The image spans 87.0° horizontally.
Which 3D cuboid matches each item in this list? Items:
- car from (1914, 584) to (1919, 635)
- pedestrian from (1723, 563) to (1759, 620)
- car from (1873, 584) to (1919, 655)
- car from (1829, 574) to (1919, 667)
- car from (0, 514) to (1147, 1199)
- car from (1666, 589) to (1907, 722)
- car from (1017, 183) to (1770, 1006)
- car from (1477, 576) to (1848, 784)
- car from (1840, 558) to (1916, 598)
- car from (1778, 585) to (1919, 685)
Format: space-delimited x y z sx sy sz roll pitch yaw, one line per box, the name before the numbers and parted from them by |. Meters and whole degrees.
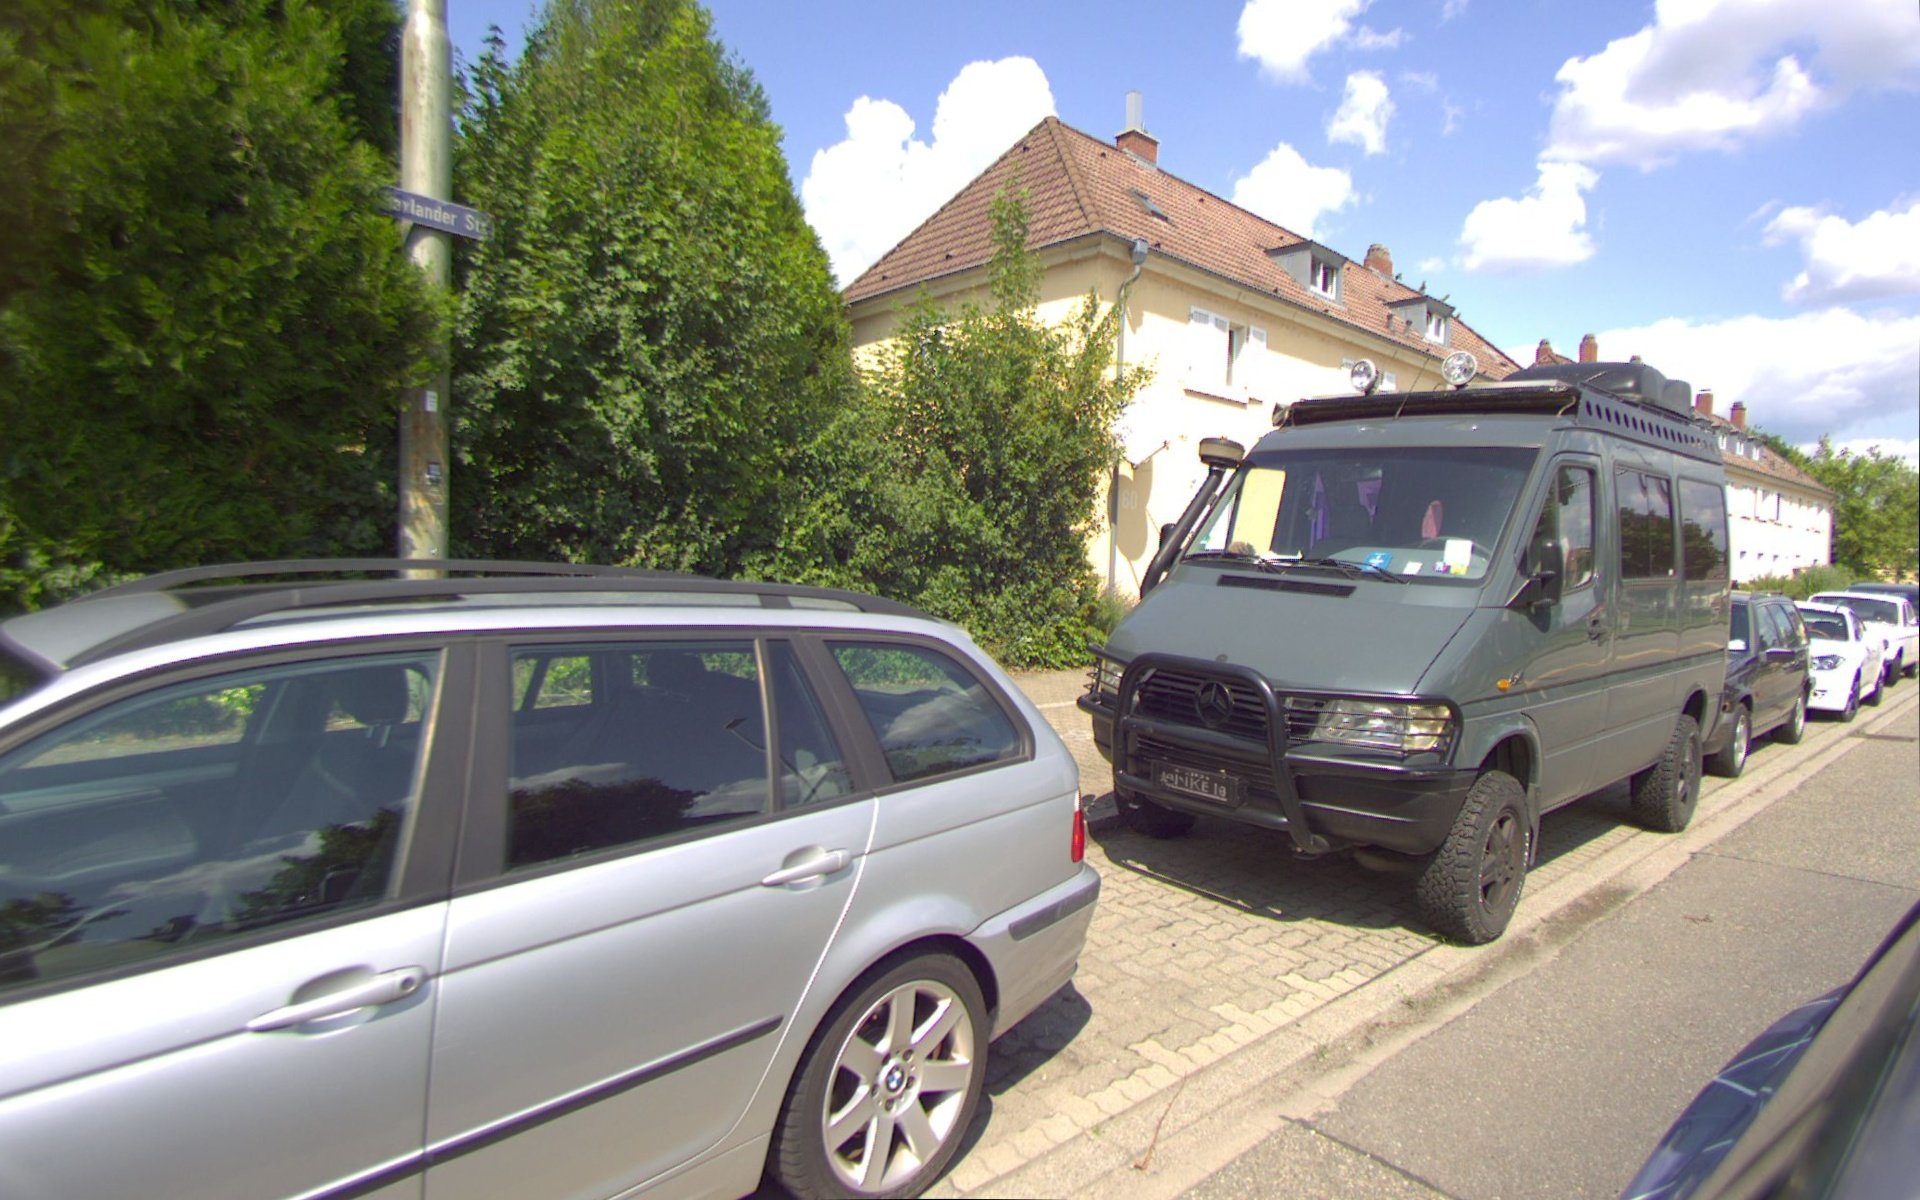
car | 29.319 0.295 29.530 3.830 1.446 1.701 -1 4 -41
pedestrian | 23.587 -0.264 30.573 0.885 1.658 0.617 -1 4 -41
car | 22.614 0.424 23.401 4.439 1.454 1.689 -2 5 -42
car | 18.874 0.348 20.237 4.198 1.650 1.682 -1 4 -42
car | -1.613 0.616 1.973 4.284 1.534 1.693 -2 4 -44
car | 10.497 0.571 12.752 4.058 1.311 1.724 -1 4 -42
car | 2.764 -0.084 5.781 4.794 2.794 2.000 -1 3 -41
car | 6.746 0.534 9.476 4.753 1.419 1.724 -1 4 -41
car | 42.652 -1.005 46.976 3.973 1.768 1.928 0 3 -38
car | 15.441 0.500 17.217 3.955 1.435 1.653 -1 4 -41
